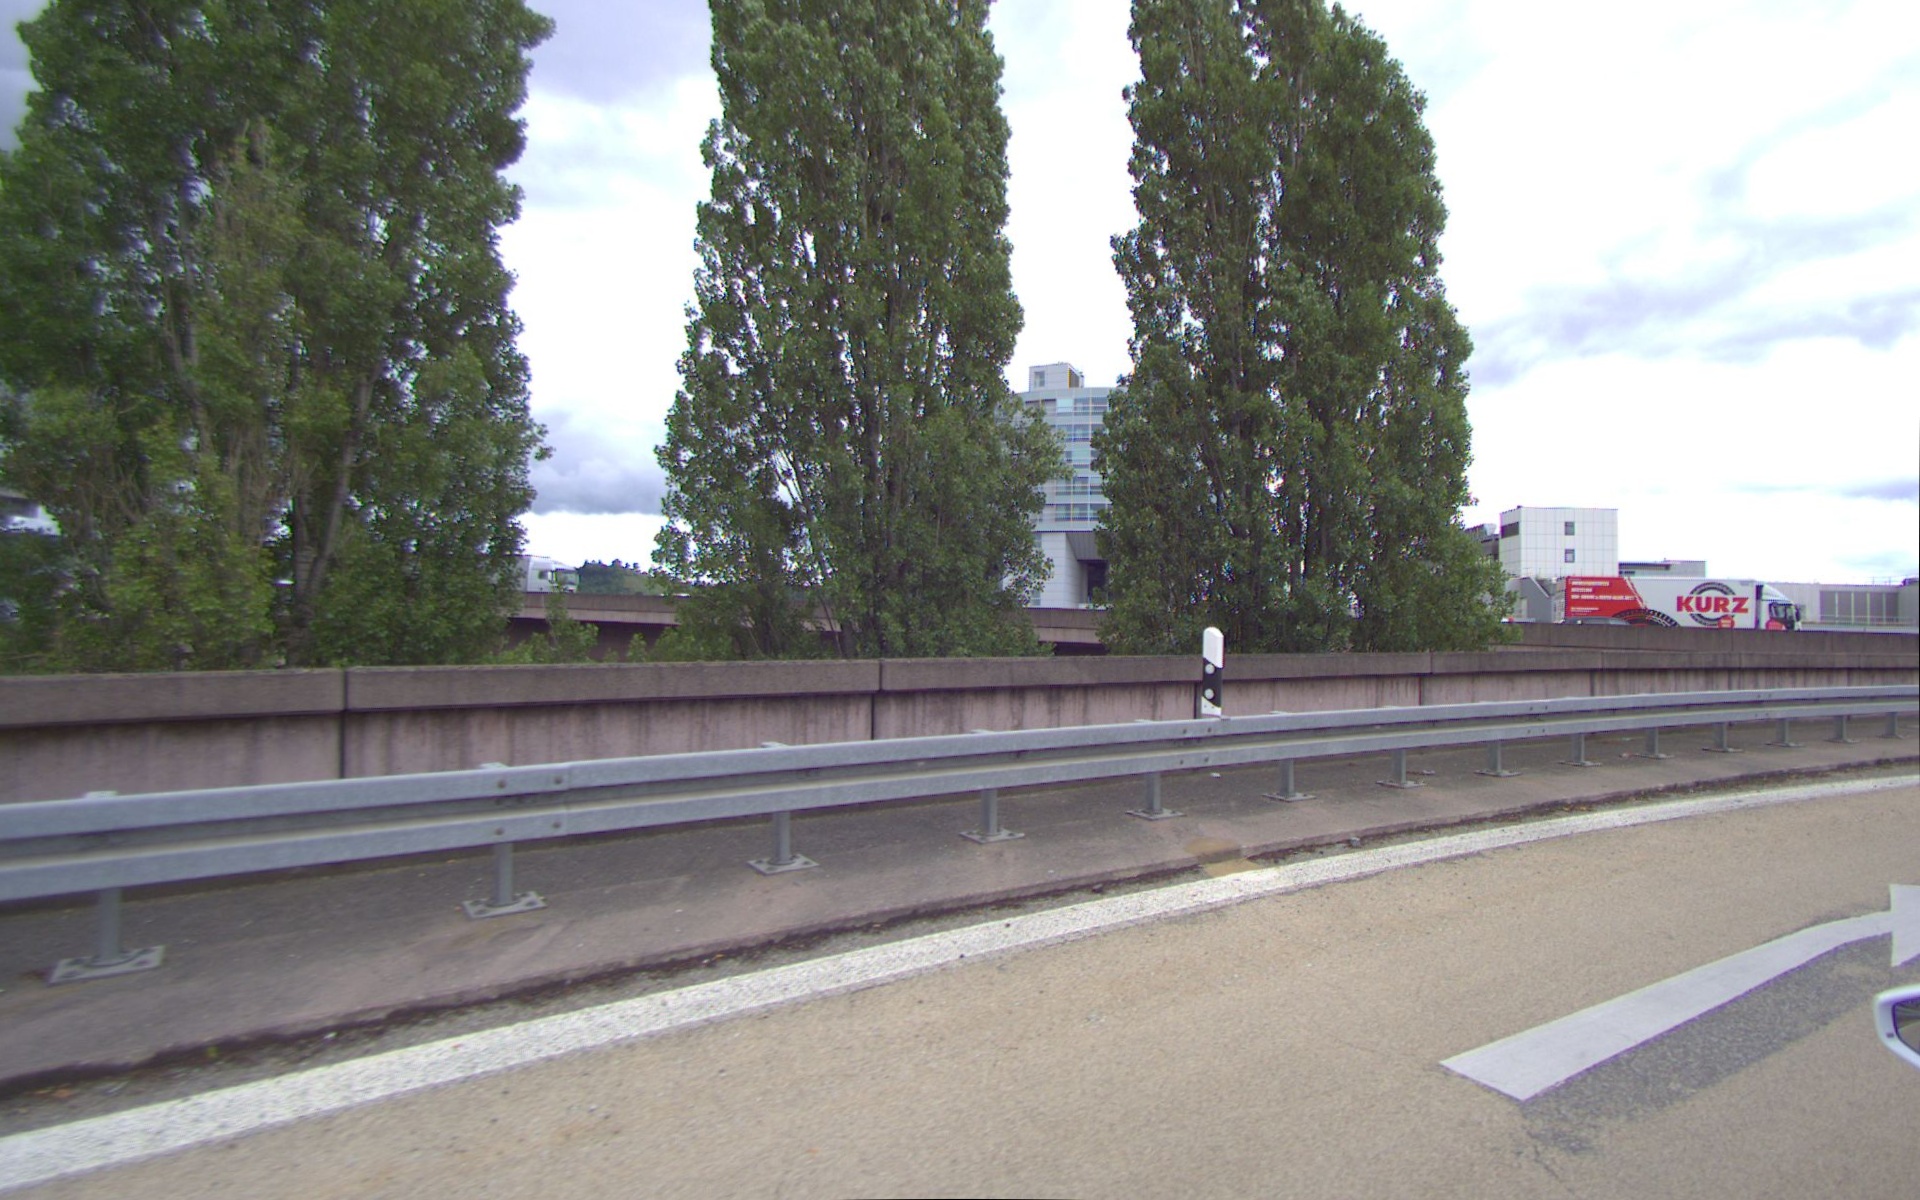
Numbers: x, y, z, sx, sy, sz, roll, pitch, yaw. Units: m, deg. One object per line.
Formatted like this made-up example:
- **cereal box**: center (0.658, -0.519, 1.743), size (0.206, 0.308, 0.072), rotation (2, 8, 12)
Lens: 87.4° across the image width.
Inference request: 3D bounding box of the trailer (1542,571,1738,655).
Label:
- **trailer**: center (31.592, 0.624, 47.055), size (7.170, 3.738, 2.699), rotation (1, -2, 21)

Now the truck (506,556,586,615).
- **truck**: center (-29.996, -1.073, 72.782), size (4.698, 4.065, 2.864), rotation (2, 1, 22)

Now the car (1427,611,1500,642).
- **car**: center (28.190, 1.459, 56.350), size (3.580, 1.539, 1.687), rotation (1, 2, 23)

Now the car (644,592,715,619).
- **car**: center (-17.181, 0.318, 61.523), size (3.923, 1.539, 1.787), rotation (1, 1, 23)

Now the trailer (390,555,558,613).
- **trailer**: center (-36.659, -1.257, 75.492), size (13.702, 4.065, 2.864), rotation (2, 1, 22)

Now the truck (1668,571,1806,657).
- **truck**: center (35.160, 0.652, 45.642), size (4.353, 3.738, 2.700), rotation (1, -2, 22)

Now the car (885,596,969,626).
- **car**: center (-2.052, 0.663, 62.159), size (4.799, 1.691, 1.998), rotation (1, 0, 25)
